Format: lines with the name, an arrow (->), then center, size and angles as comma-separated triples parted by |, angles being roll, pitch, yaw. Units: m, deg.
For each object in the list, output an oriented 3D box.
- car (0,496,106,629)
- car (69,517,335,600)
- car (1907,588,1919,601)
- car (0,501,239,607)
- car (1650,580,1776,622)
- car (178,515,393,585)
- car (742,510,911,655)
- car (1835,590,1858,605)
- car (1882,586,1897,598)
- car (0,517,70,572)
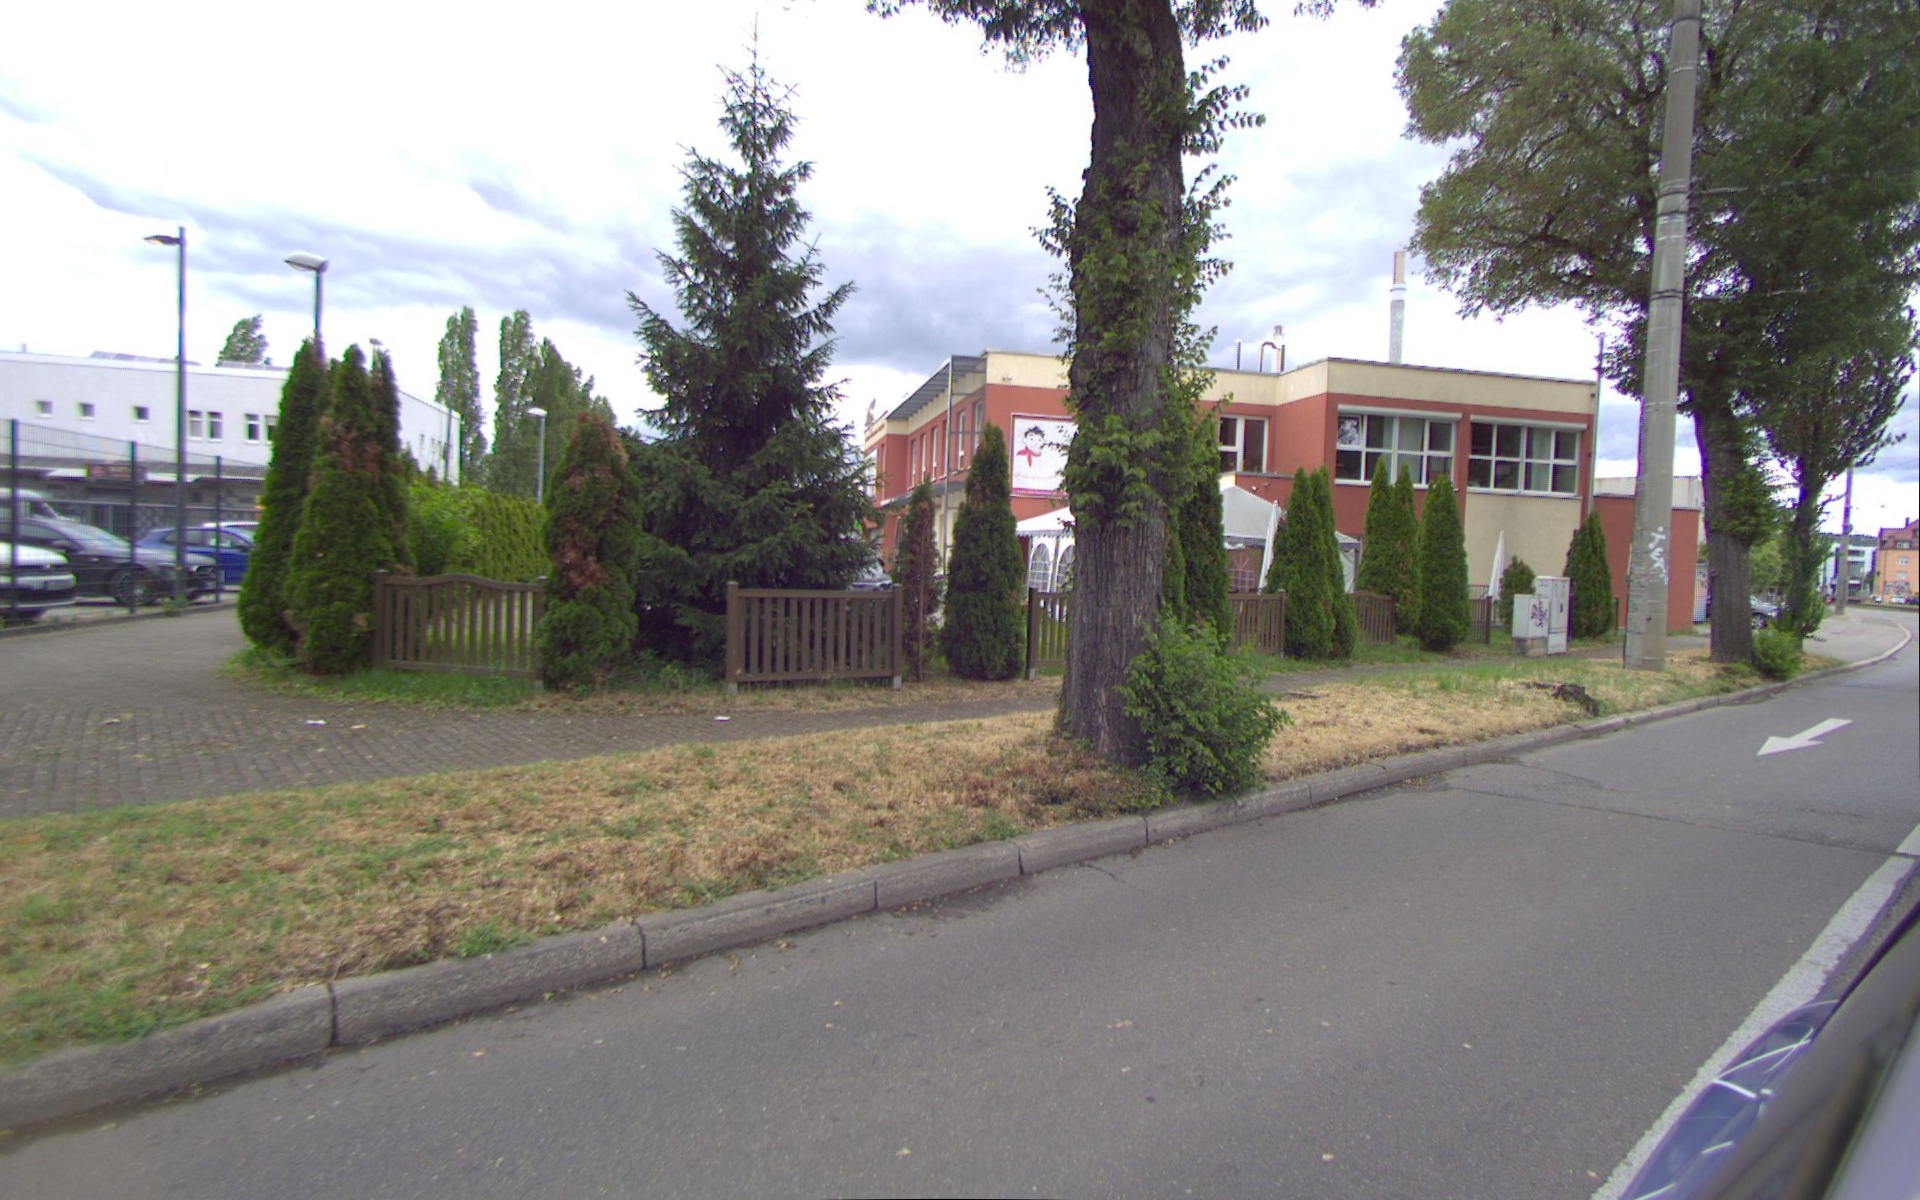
car -> -14.434, -0.561, 13.361 | 4.407, 1.686, 2.005 | 1, 2, -14
car -> -17.020, -0.927, 22.973 | 4.407, 1.686, 2.005 | 1, 2, -14
car -> 154.748, -0.915, 163.855 | 1.992, 2.039, 3.940 | 0, 0, 42
car -> -15.558, -0.812, 17.667 | 4.407, 1.686, 2.005 | 1, 2, -14
car -> 30.858, 0.028, 41.522 | 3.986, 1.666, 1.867 | 0, 0, 43
car -> -17.977, -1.324, 27.207 | 4.407, 1.686, 2.005 | 1, 2, -14
car -> -2.303, -0.269, 16.485 | 1.958, 2.039, 4.008 | 0, 0, -19
car -> 106.219, -0.270, 121.219 | 1.864, 1.772, 3.937 | 0, 0, 44
car -> 170.132, -1.470, 185.210 | 1.992, 2.039, 3.940 | 0, 0, 42
car -> -31.186, -1.722, 31.944 | 4.181, 1.670, 2.004 | 0, 0, -17
